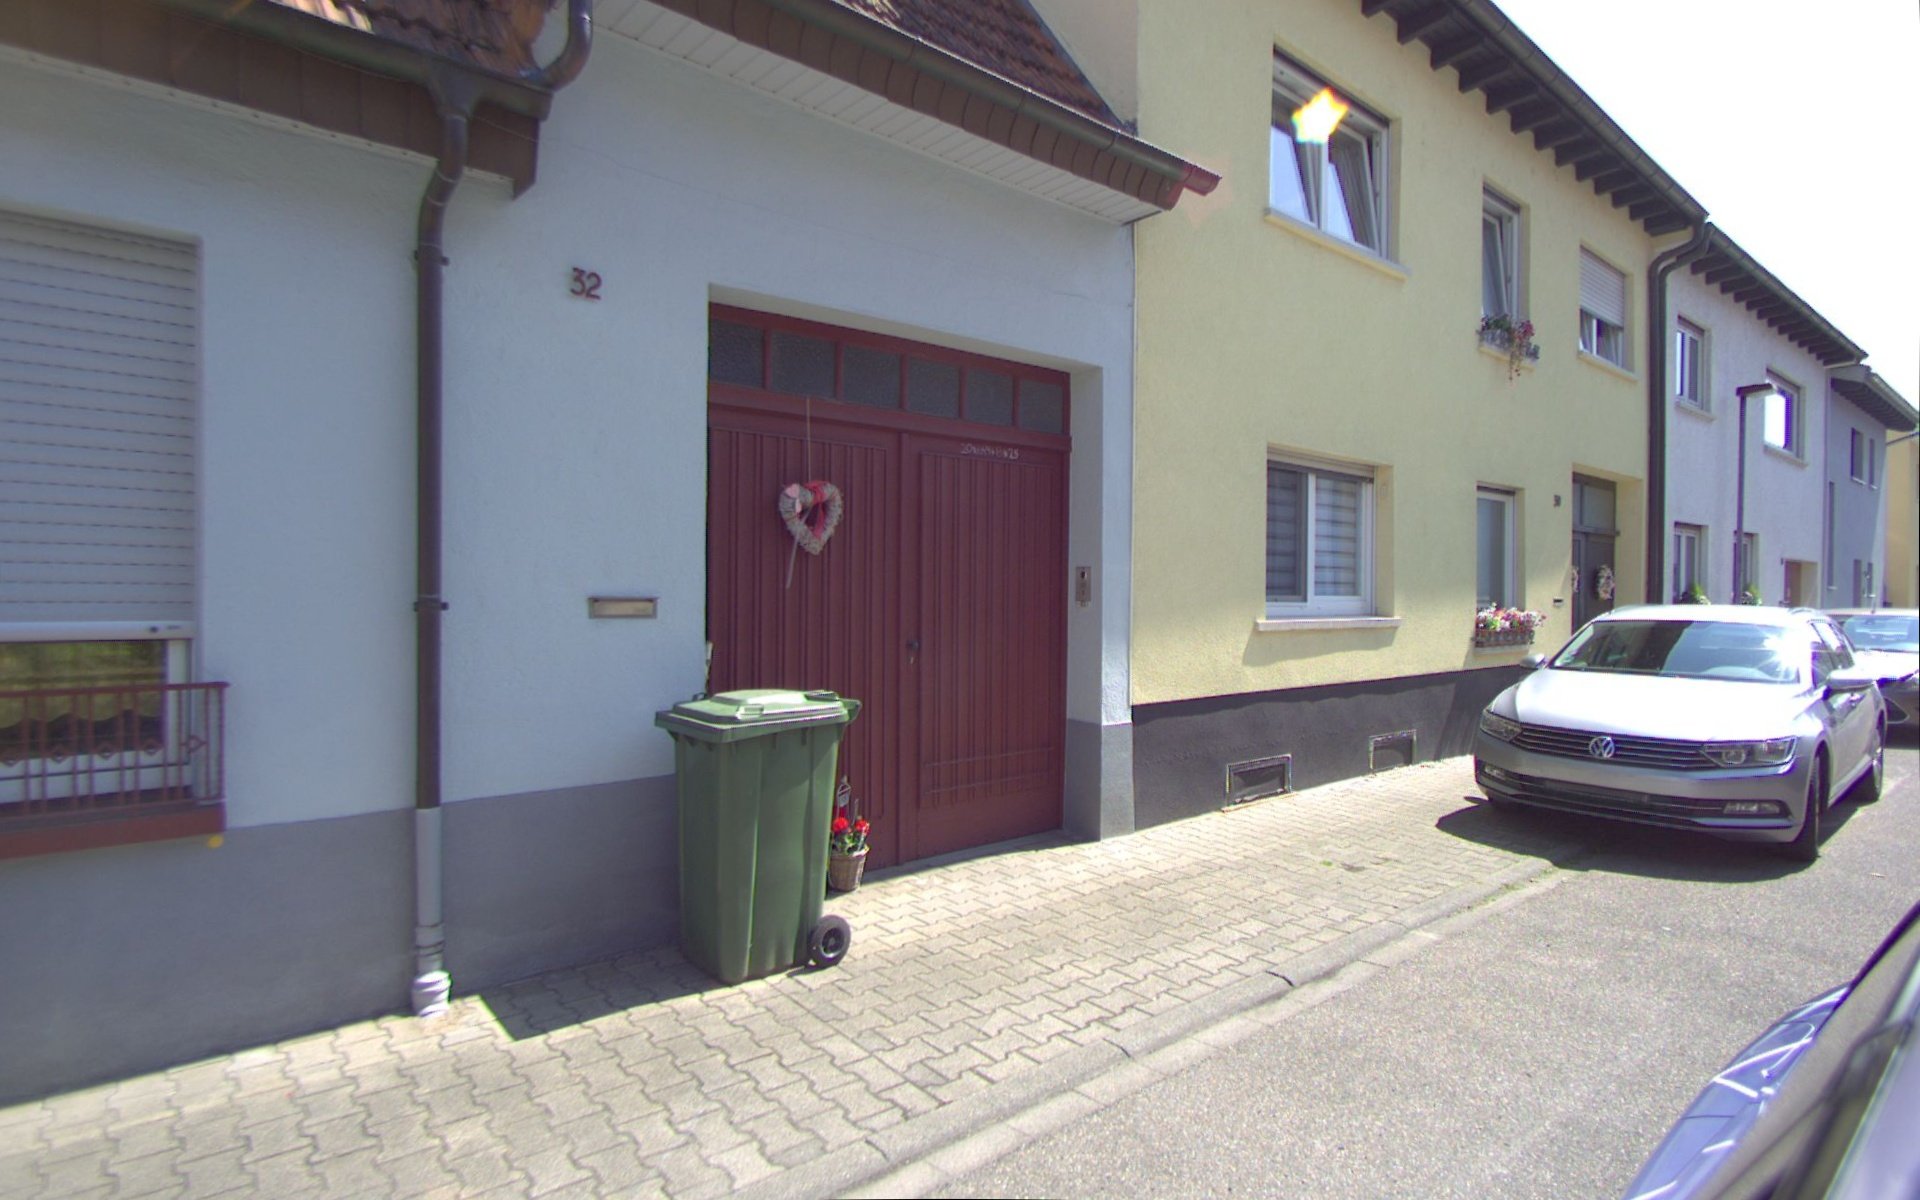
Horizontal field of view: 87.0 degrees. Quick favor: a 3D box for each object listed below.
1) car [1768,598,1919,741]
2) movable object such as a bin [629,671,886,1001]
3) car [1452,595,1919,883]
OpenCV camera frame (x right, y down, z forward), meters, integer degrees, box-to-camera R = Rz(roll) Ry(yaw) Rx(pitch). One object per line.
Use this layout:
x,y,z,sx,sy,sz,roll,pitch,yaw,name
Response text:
11.185,0.719,12.110,4.032,1.453,1.699,0,0,-41,car
-0.817,0.871,4.099,0.799,1.084,0.659,0,0,-42,movable object such as a bin
5.579,0.713,7.473,4.693,1.466,1.841,0,0,-41,car
